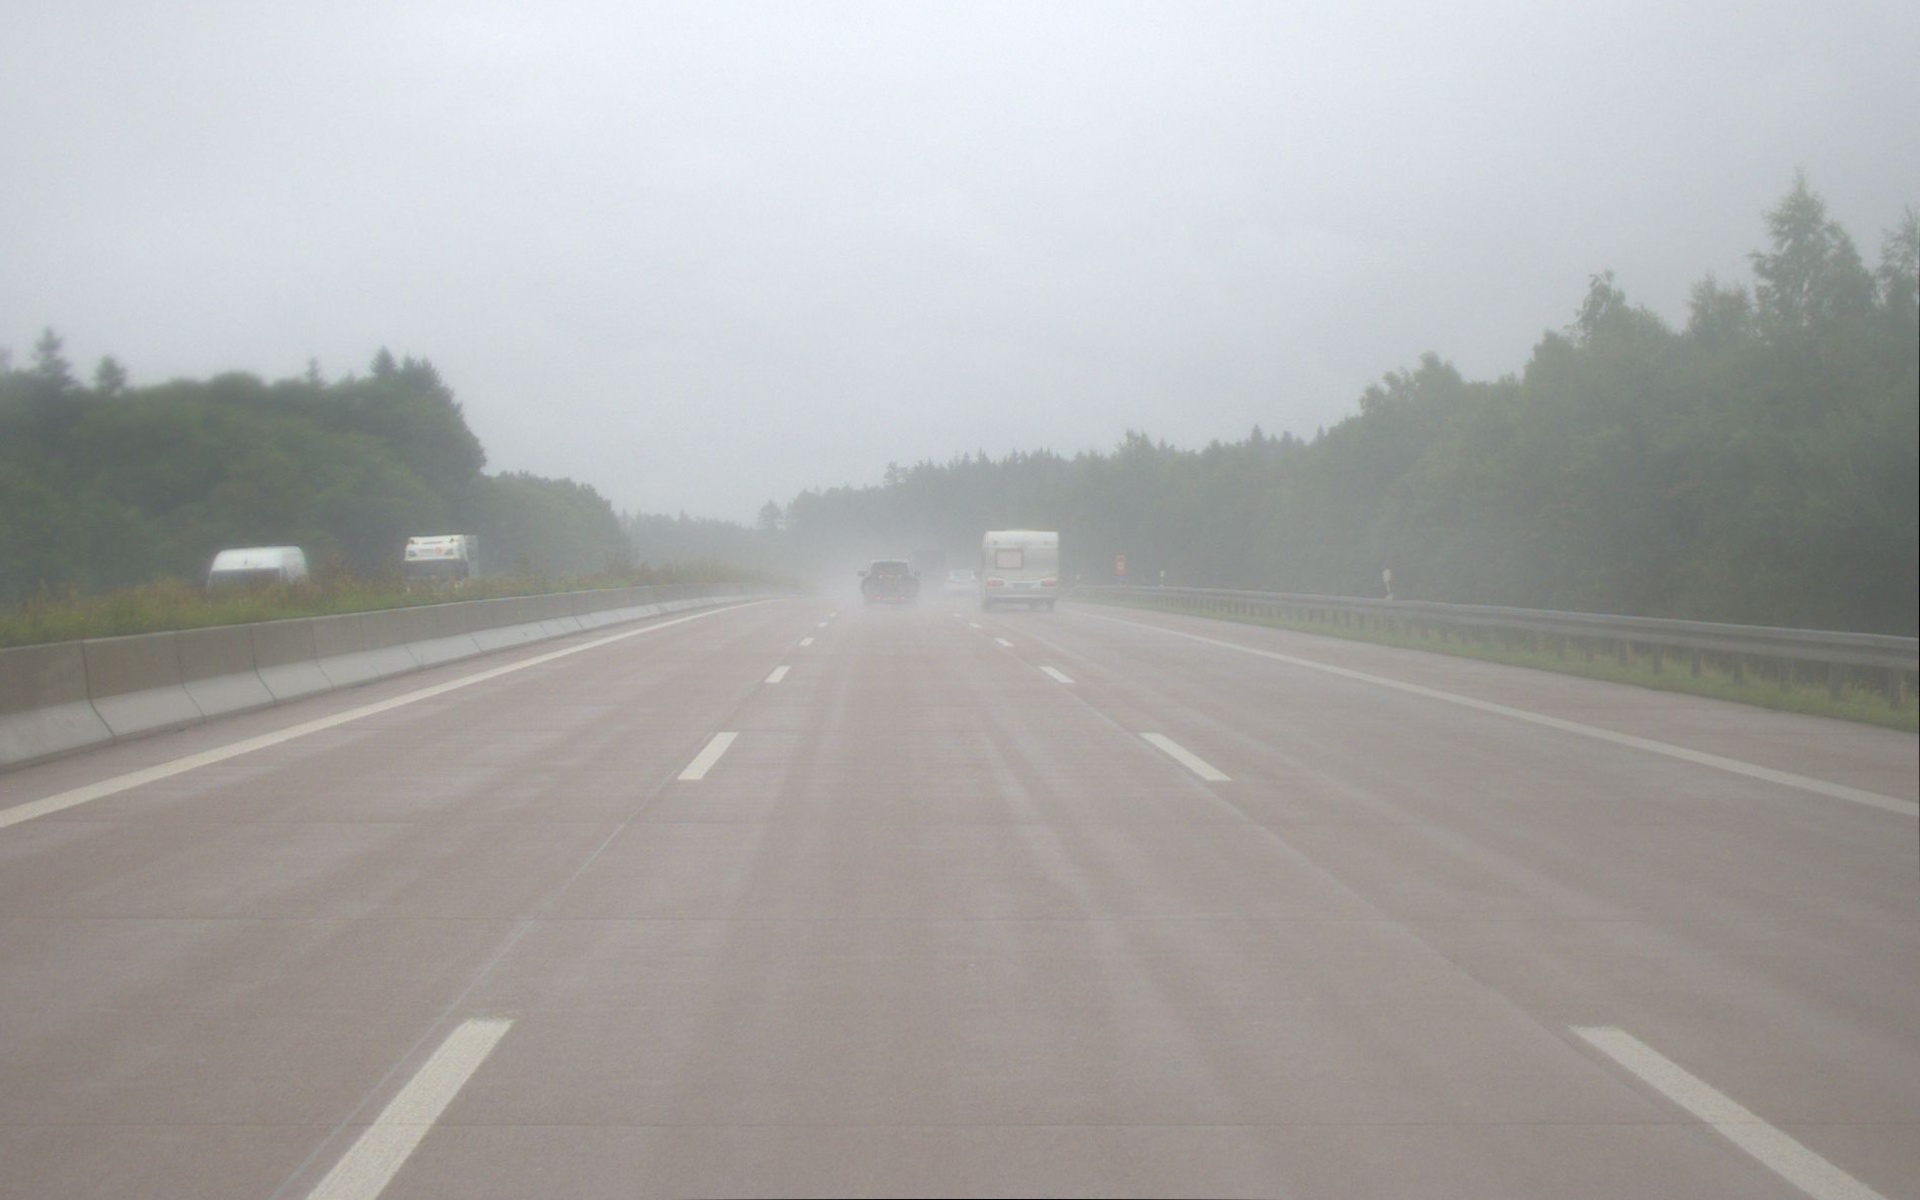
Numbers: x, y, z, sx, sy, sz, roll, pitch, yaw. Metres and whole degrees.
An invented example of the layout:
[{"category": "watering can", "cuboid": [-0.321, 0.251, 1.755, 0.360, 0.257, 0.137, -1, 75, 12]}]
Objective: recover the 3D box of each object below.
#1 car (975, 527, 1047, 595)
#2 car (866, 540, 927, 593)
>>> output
[{"category": "car", "cuboid": [1.578, -1.227, 107.777, 2.058, 1.993, 4.099, 3, 1, 0]}, {"category": "car", "cuboid": [-2.084, -1.127, 113.601, 1.937, 1.723, 4.130, 0, 1, 0]}]
